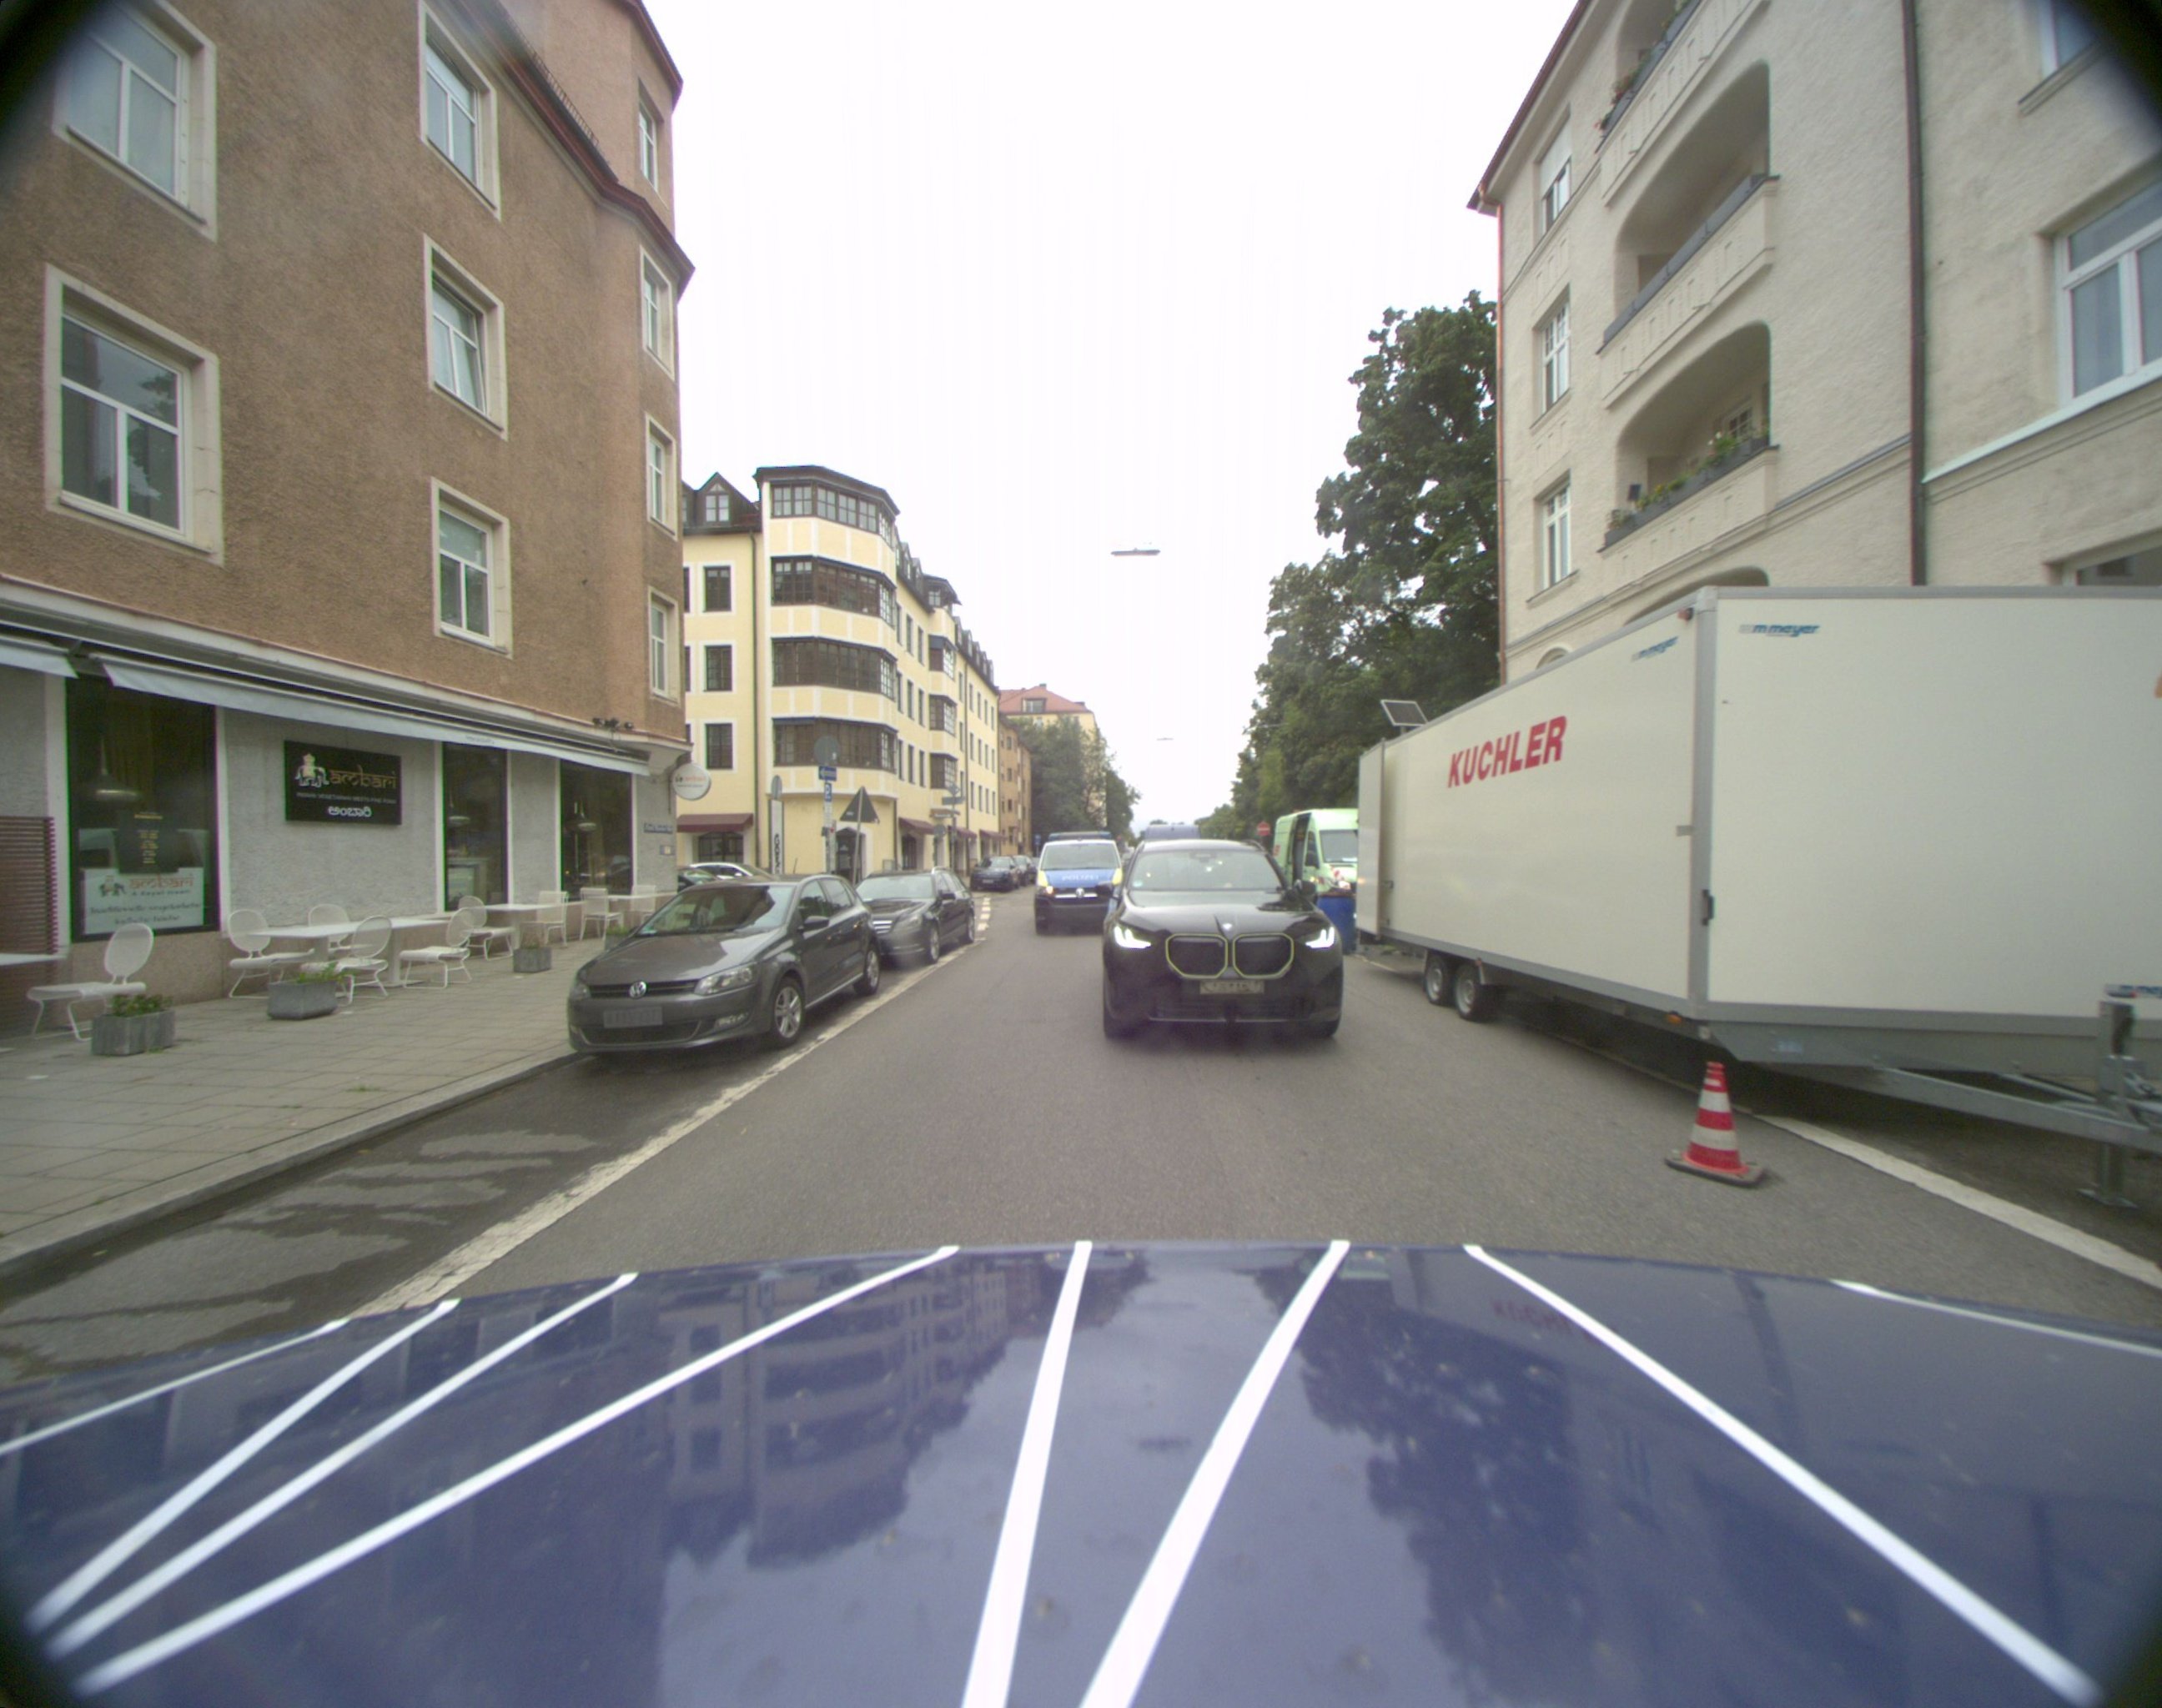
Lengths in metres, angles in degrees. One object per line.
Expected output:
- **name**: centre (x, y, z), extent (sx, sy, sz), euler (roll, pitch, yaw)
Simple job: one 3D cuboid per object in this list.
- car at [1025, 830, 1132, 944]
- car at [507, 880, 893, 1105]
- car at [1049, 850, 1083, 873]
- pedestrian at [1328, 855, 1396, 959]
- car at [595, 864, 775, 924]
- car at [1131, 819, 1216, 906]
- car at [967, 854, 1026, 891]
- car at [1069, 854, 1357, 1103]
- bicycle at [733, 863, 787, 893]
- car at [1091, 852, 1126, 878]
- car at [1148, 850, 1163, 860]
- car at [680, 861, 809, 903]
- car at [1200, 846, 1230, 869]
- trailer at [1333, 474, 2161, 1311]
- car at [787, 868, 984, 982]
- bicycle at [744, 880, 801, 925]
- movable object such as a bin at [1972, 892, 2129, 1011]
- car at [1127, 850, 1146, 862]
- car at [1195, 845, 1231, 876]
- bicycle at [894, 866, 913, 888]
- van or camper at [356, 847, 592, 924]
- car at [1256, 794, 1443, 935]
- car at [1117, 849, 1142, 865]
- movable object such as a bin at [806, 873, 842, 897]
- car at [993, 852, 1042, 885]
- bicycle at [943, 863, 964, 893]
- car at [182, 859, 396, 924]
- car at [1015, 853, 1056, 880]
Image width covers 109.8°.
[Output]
- **car**: centre (0.135, 0.617, 17.083), extent (1.826, 2.086, 5.635), euler (-2, 0, 5)
- **car**: centre (-3.197, 1.050, 7.435), extent (1.576, 1.386, 4.182), euler (0, 1, 1)
- **car**: centre (-1.117, 0.533, 59.426), extent (1.882, 1.642, 5.619), euler (1, 1, 7)
- **pedestrian**: centre (4.389, 0.799, 11.882), extent (0.764, 1.571, 0.636), euler (0, 1, -15)
- **car**: centre (-10.652, 1.046, 20.649), extent (3.881, 1.479, 1.892), euler (0, 1, 3)
- **car**: centre (3.175, 0.184, 24.752), extent (2.003, 2.477, 6.238), euler (-1, 1, 13)
- **car**: centre (-3.959, 0.832, 36.325), extent (2.111, 1.613, 4.497), euler (-1, 1, 3)
- **car**: centre (1.246, 0.822, 7.267), extent (1.920, 1.557, 4.296), euler (0, 1, 10)
- **bicycle**: centre (-12.776, 0.956, 30.251), extent (1.904, 1.180, 0.515), euler (0, 1, 3)
- **car**: centre (1.817, 0.678, 48.702), extent (1.997, 1.587, 4.001), euler (1, 1, 6)
- **car**: centre (10.440, 0.155, 105.710), extent (1.836, 1.390, 4.002), euler (1, 1, 8)
- **car**: centre (-11.815, 0.980, 26.812), extent (3.742, 1.431, 1.753), euler (0, -2, 6)
- **car**: centre (9.480, 0.236, 53.868), extent (1.816, 1.455, 4.166), euler (4, 1, 8)
- **trailer**: centre (4.608, 0.190, 6.442), extent (2.810, 2.951, 7.602), euler (2, 0, 4)
- **car**: centre (-2.955, 1.007, 12.685), extent (1.851, 1.397, 4.788), euler (-1, 0, 2)
- **bicycle**: centre (-7.380, 1.136, 18.258), extent (0.496, 0.999, 1.804), euler (1, -1, 5)
- **movable object such as a bin**: centre (9.898, 0.968, 7.790), extent (0.650, 1.122, 0.730), euler (0, 1, 5)
- **car**: centre (6.425, 0.220, 87.106), extent (1.836, 1.390, 4.002), euler (1, 1, 8)
- **car**: centre (7.612, 0.320, 44.095), extent (1.816, 1.580, 4.166), euler (4, 1, 8)
- **bicycle**: centre (-8.077, 1.035, 34.571), extent (0.262, 0.897, 1.695), euler (4, 1, 5)
- **van or camper**: centre (-16.417, 0.816, 20.711), extent (4.910, 1.908, 1.961), euler (0, 3, 4)
- **car**: centre (5.701, 0.185, 17.346), extent (2.146, 2.557, 6.795), euler (-1, 0, 3)
- **car**: centre (4.222, 0.237, 65.556), extent (1.836, 1.390, 4.002), euler (1, 1, 8)
- **movable object such as a bin**: centre (-9.617, 1.154, 28.453), extent (1.125, 0.895, 0.684), euler (0, 1, 3)
- **car**: centre (-3.403, 0.747, 41.545), extent (1.817, 1.580, 4.165), euler (4, 1, 6)
- **bicycle**: centre (-5.402, 1.006, 32.332), extent (0.430, 1.152, 2.053), euler (1, 1, 4)
- **car**: centre (-21.814, 0.999, 21.042), extent (3.993, 1.634, 1.979), euler (0, 1, 4)
- **car**: centre (-2.726, 0.753, 46.631), extent (1.763, 1.514, 3.934), euler (1, 1, 8)
